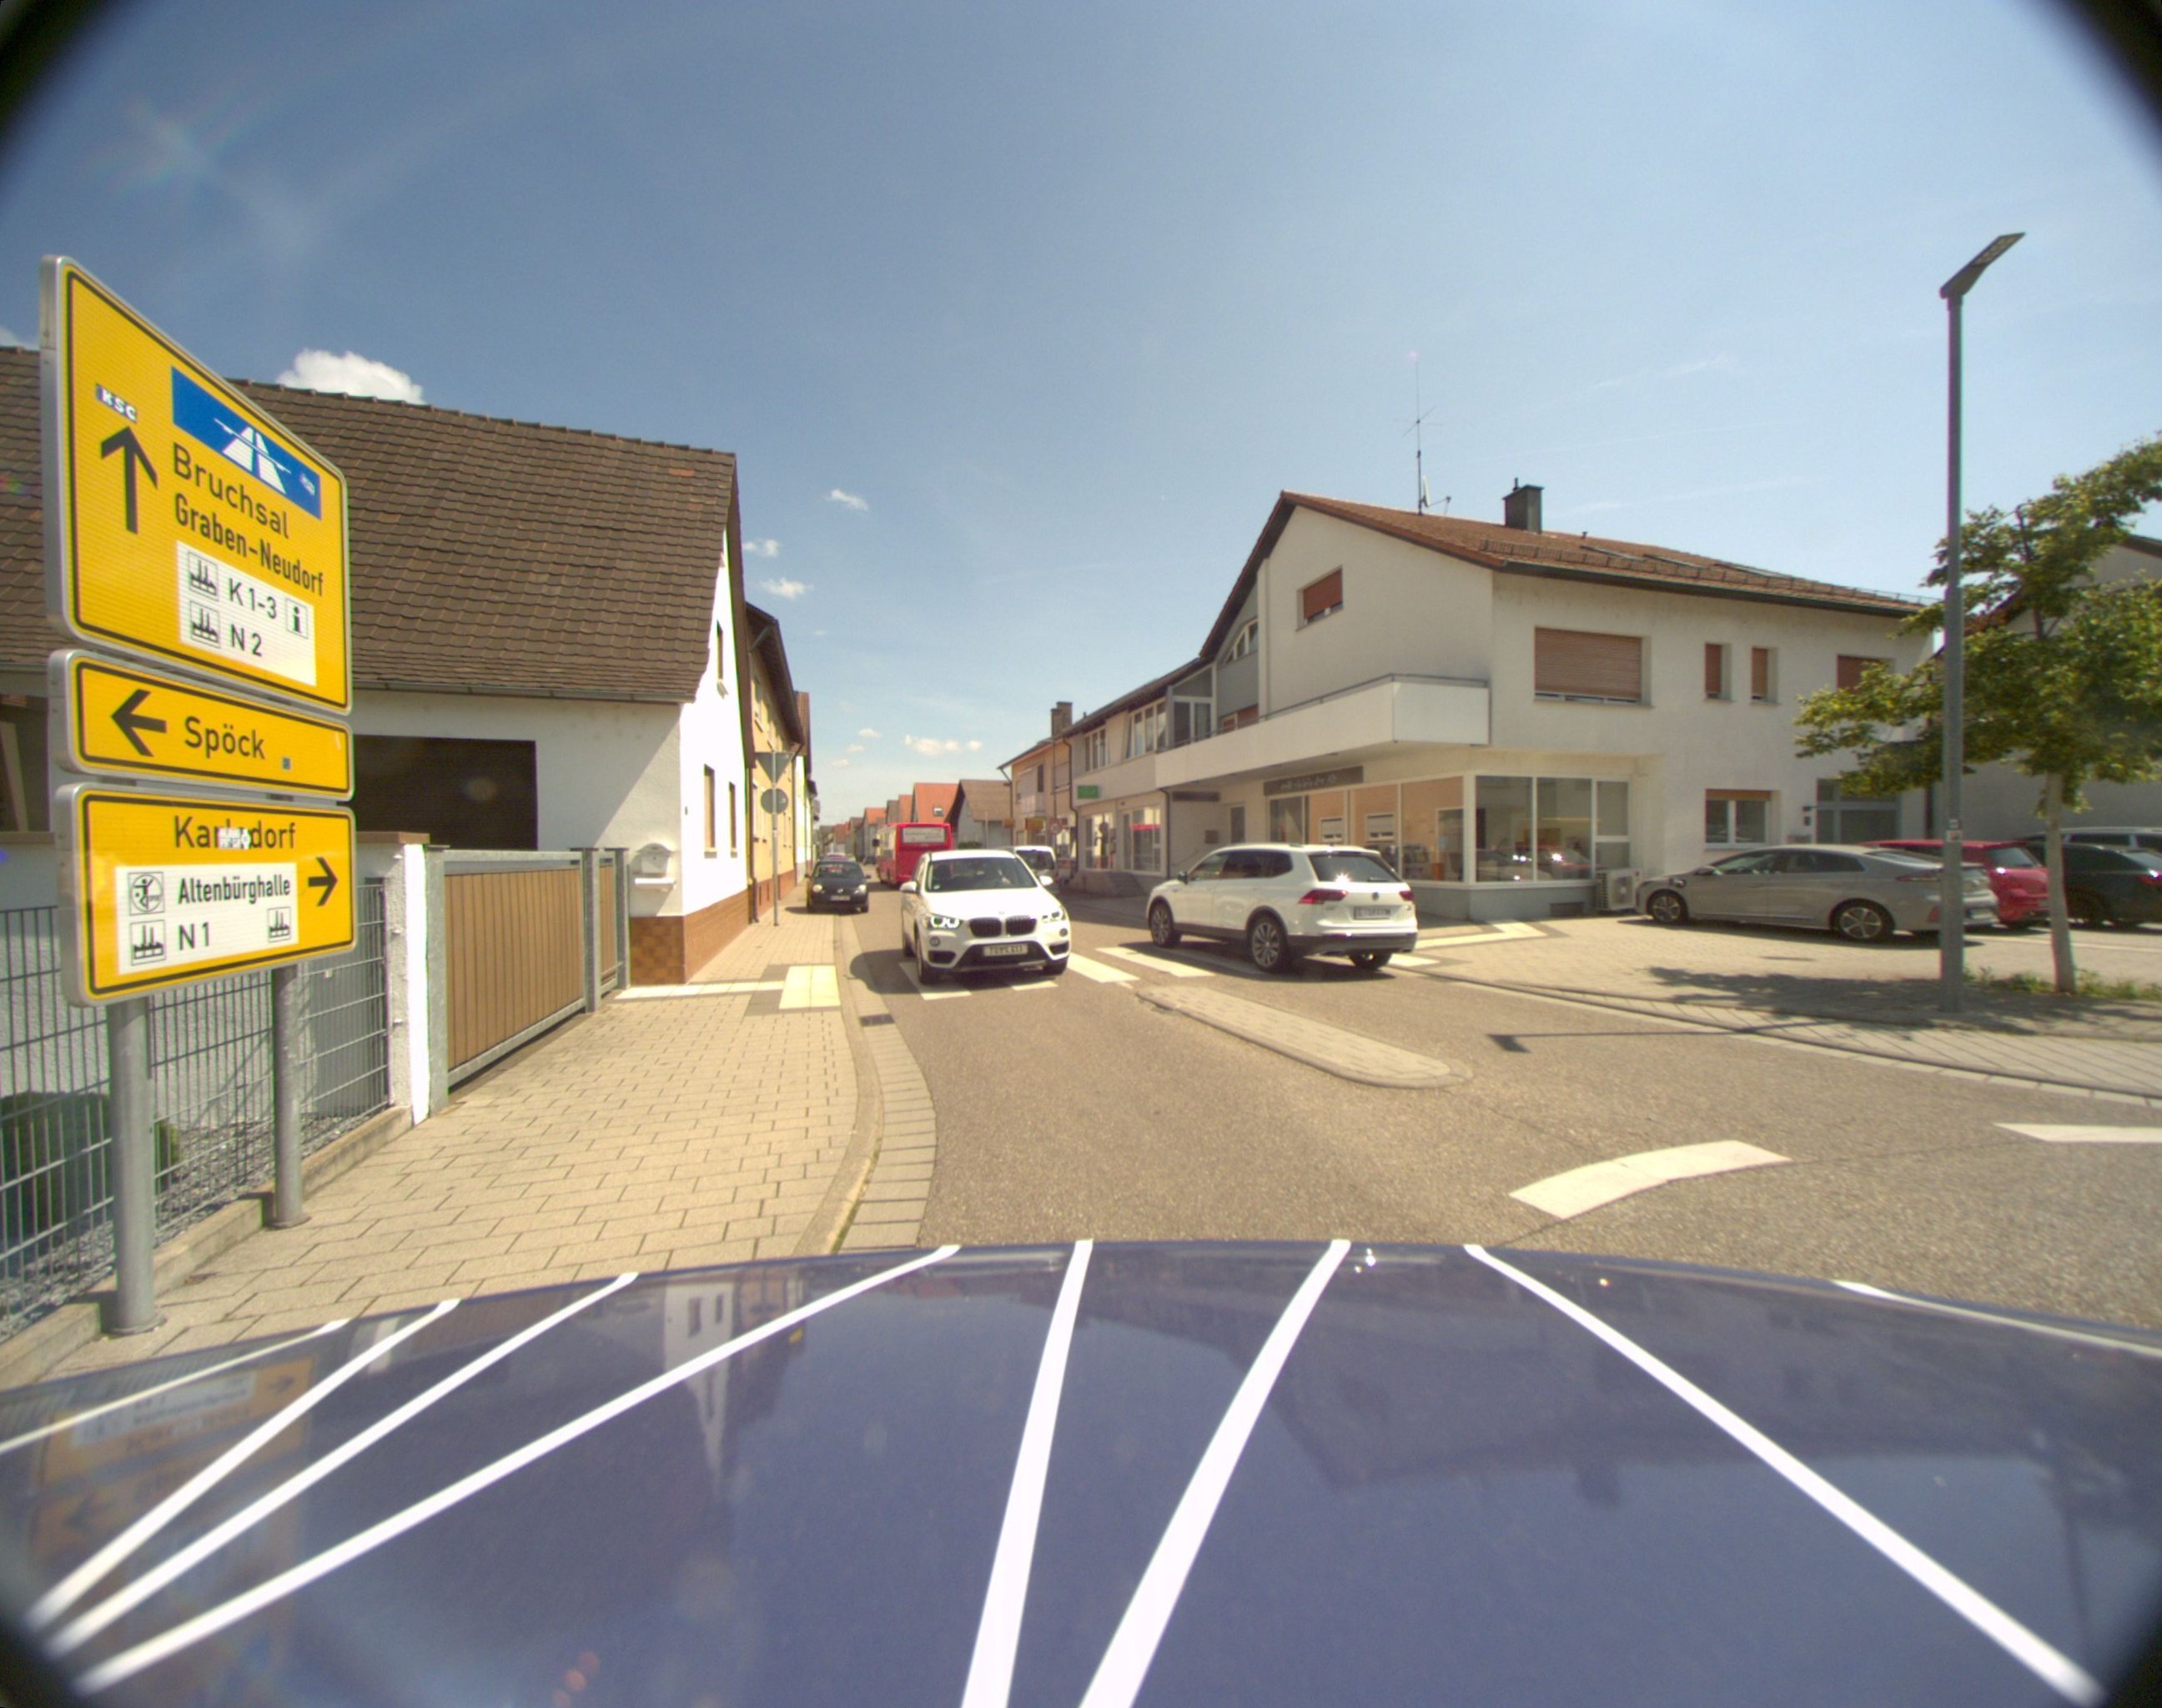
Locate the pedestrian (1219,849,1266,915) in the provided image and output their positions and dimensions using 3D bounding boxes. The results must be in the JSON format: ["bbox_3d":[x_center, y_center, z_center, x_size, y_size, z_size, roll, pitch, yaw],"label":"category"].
[{"bbox_3d":[4.107,0.687,19.332,0.758,1.575,0.955,-3,2,-16],"label":"pedestrian"}]

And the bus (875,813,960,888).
[{"bbox_3d":[-8.663,-0.169,38.824,2.638,3.213,12.001,1,0,-20],"label":"bus"}]

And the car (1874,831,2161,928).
[{"bbox_3d":[19.715,0.416,15.313,1.989,1.729,4.740,-1,1,-19],"label":"car"}]

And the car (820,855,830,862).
[{"bbox_3d":[-54.361,0.929,161.422,1.768,1.420,3.845,-1,0,-21],"label":"car"}]

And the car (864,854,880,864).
[{"bbox_3d":[-30.204,0.667,109.860,1.768,1.420,3.845,-1,0,-21],"label":"car"}]

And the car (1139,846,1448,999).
[{"bbox_3d":[2.682,0.760,10.865,1.874,1.700,4.533,1,0,-22],"label":"car"}]

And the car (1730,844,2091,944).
[{"bbox_3d":[14.398,0.567,13.538,1.754,1.469,3.957,-1,1,-19],"label":"car"}]

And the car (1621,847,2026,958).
[{"bbox_3d":[11.902,0.636,12.682,1.837,1.442,4.470,-1,1,-19],"label":"car"}]

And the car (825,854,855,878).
[{"bbox_3d":[-15.575,0.741,48.972,1.767,1.420,4.182,-1,0,-18],"label":"car"}]

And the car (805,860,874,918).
[{"bbox_3d":[-6.842,0.928,21.460,1.693,1.454,3.623,1,0,-18],"label":"car"}]

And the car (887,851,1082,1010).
[{"bbox_3d":[-1.566,0.828,10.541,1.847,1.636,4.367,-3,1,-18],"label":"car"}]

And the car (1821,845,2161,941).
[{"bbox_3d":[16.911,0.582,13.896,1.837,1.442,4.470,-1,1,-19],"label":"car"}]

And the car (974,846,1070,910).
[{"bbox_3d":[-1.955,0.678,23.768,1.779,1.810,4.433,0,0,-22],"label":"car"}]
